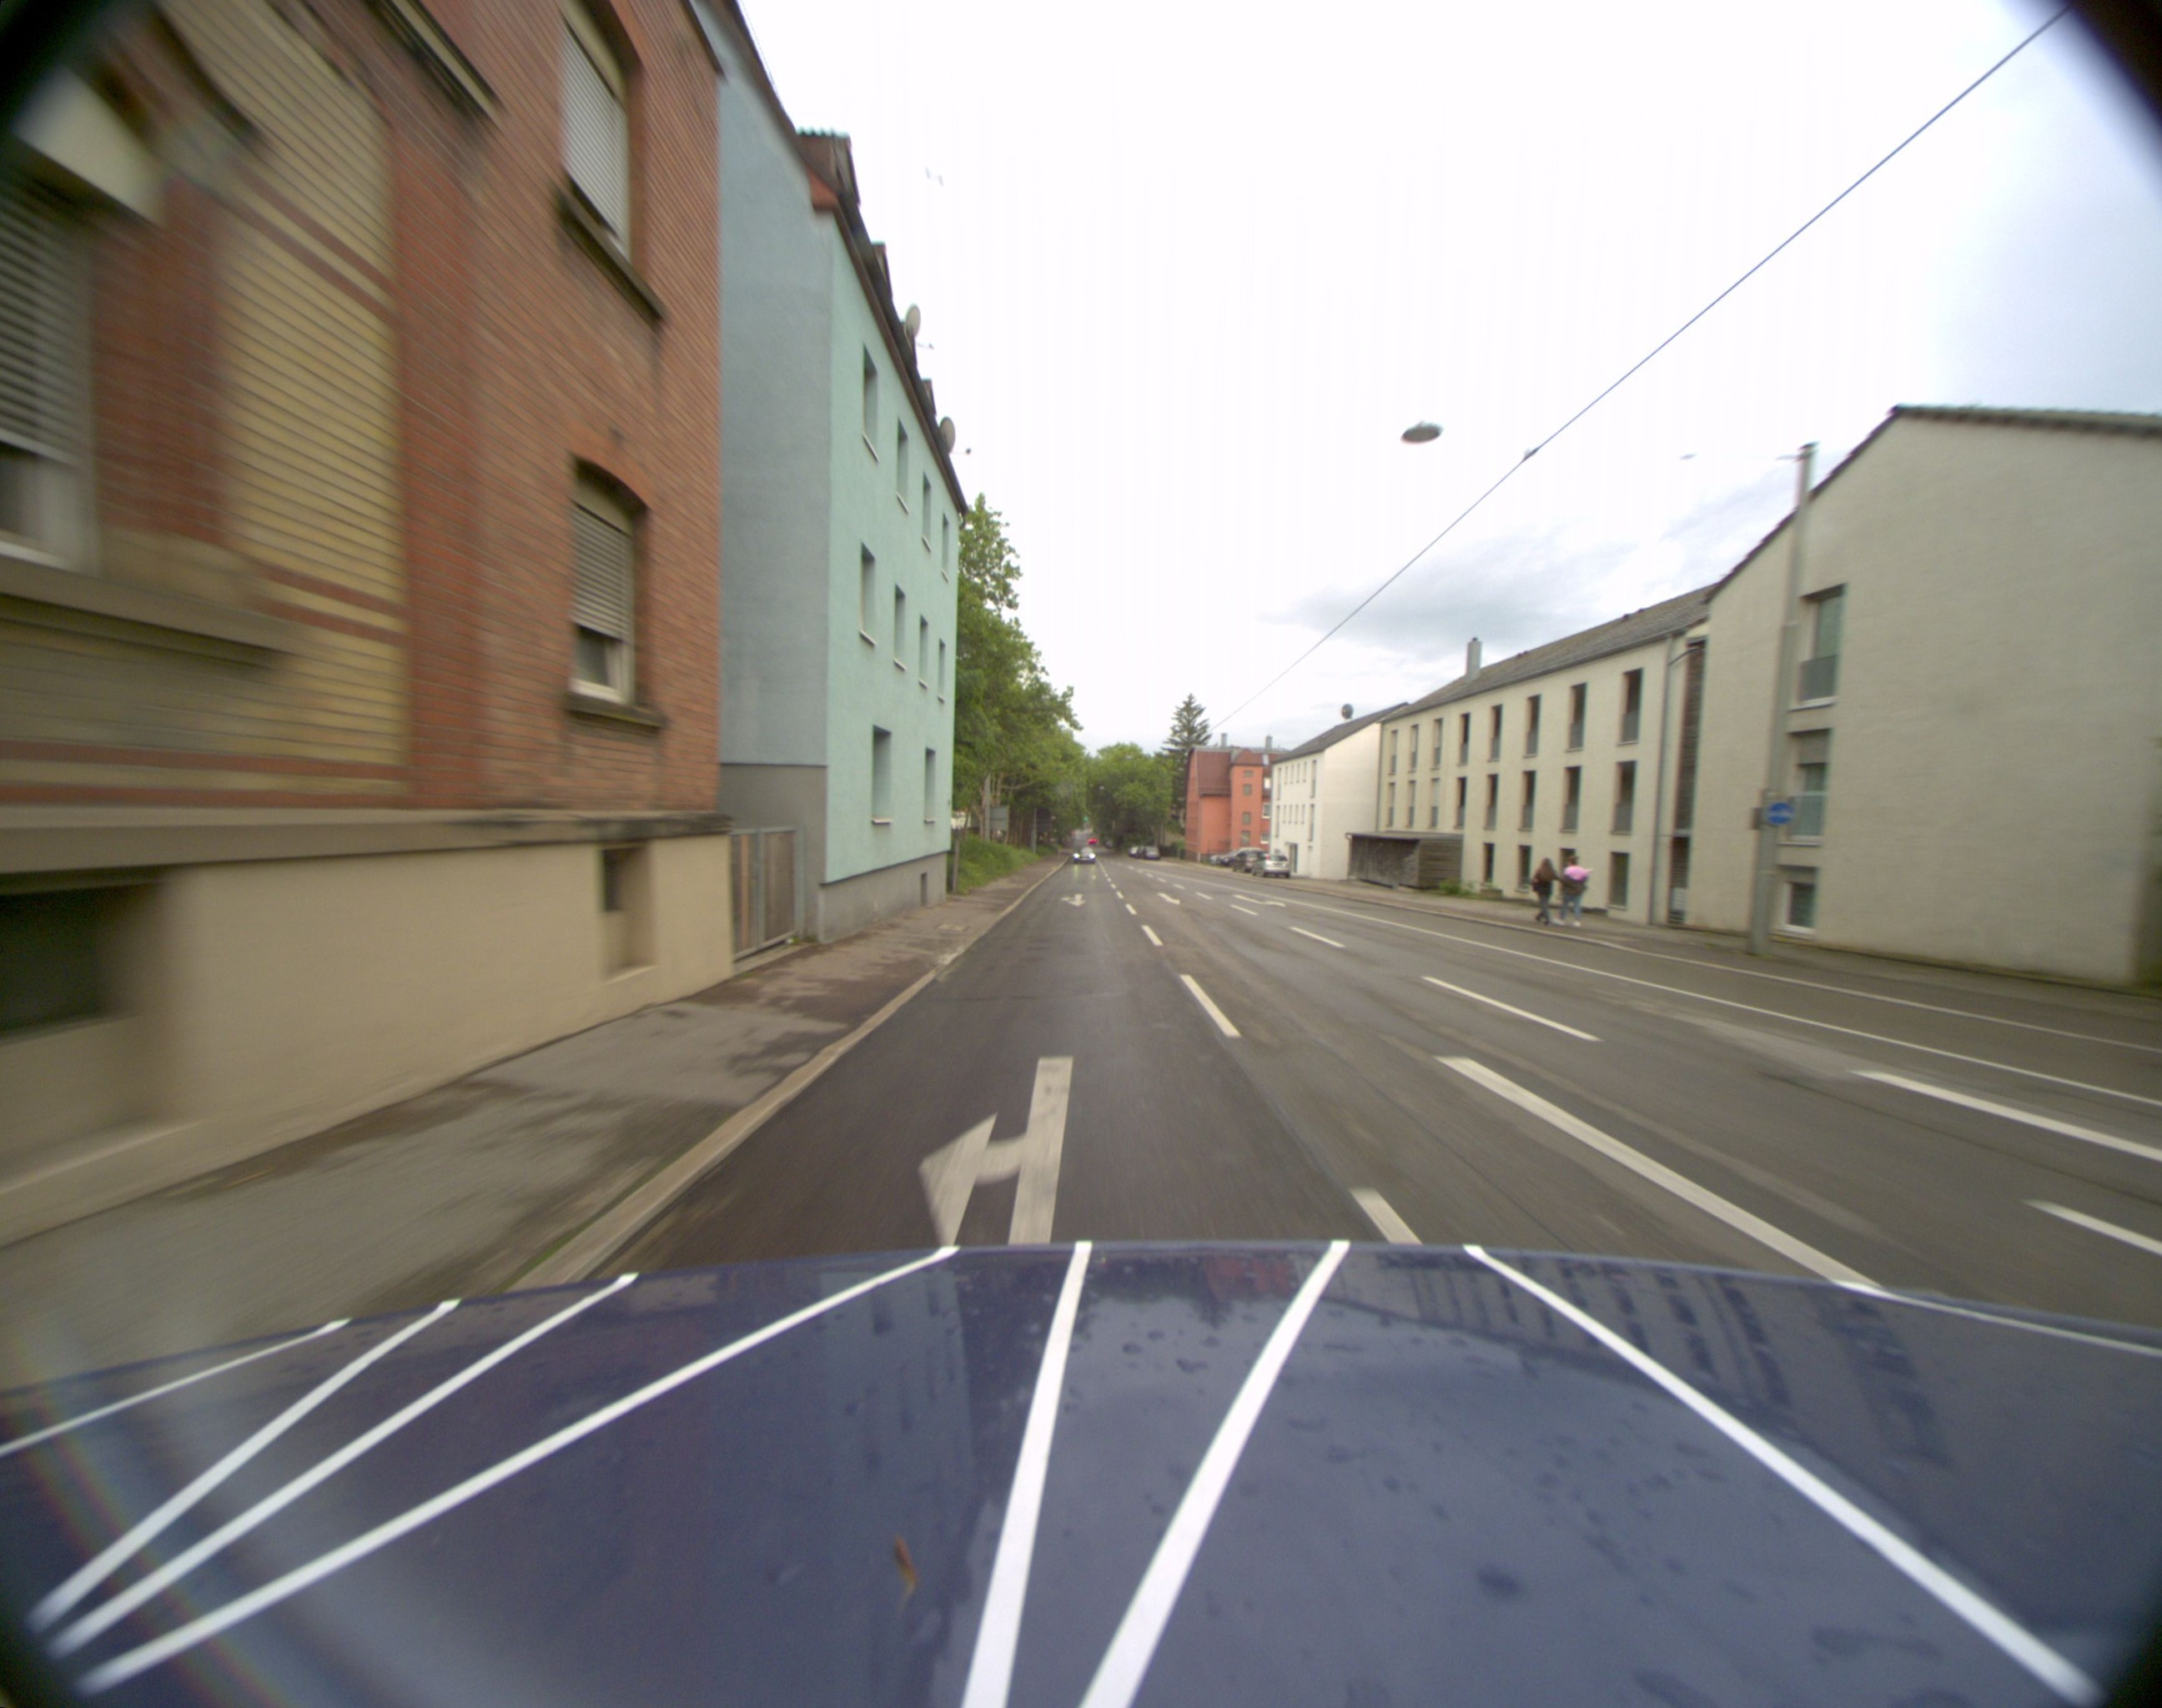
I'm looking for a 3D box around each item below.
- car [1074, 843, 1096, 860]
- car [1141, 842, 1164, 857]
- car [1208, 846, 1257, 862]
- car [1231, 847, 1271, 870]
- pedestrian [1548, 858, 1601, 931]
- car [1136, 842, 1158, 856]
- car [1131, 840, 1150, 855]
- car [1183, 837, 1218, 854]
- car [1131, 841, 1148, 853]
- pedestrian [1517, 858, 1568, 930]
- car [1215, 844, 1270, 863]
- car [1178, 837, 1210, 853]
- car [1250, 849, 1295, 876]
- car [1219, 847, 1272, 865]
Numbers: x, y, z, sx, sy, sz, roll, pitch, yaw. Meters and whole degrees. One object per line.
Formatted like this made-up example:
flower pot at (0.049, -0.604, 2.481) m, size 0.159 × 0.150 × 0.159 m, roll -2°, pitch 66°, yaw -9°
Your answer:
car at (0.329, -0.258, 67.106) m, size 1.842 × 1.403 × 3.999 m, roll 2°, pitch 2°, yaw 0°
car at (7.482, -0.449, 79.884) m, size 1.789 × 1.402 × 4.196 m, roll 3°, pitch 1°, yaw -3°
car at (13.996, -0.015, 70.329) m, size 4.172 × 1.425 × 2.000 m, roll 0°, pitch 2°, yaw 2°
car at (12.234, 0.308, 54.948) m, size 1.750 × 1.543 × 4.081 m, roll -1°, pitch 2°, yaw -4°
pedestrian at (11.913, 0.963, 18.364) m, size 0.642 × 1.696 × 0.911 m, roll 1°, pitch 2°, yaw 1°
car at (7.330, -0.581, 84.697) m, size 1.817 × 1.443 × 4.196 m, roll 1°, pitch 2°, yaw -2°
car at (7.061, -0.795, 90.906) m, size 1.816 × 1.537 × 4.197 m, roll 5°, pitch 2°, yaw 0°
car at (14.654, -1.070, 93.334) m, size 3.997 × 2.002 × 1.999 m, roll 0°, pitch 2°, yaw -1°
car at (7.425, -0.929, 96.737) m, size 1.816 × 1.425 × 4.197 m, roll 2°, pitch 2°, yaw 0°
pedestrian at (11.228, 0.956, 18.513) m, size 0.642 × 1.696 × 0.911 m, roll 1°, pitch 2°, yaw 1°
car at (14.367, -0.066, 67.823) m, size 4.542 × 1.599 × 2.152 m, roll 0°, pitch 2°, yaw 2°
car at (14.400, -1.191, 97.147) m, size 3.994 × 2.002 × 2.001 m, roll 1°, pitch 2°, yaw 7°
car at (12.009, 0.502, 47.922) m, size 1.749 × 1.499 × 4.176 m, roll 2°, pitch 2°, yaw 0°
car at (14.038, 0.171, 65.006) m, size 4.136 × 1.456 × 1.895 m, roll 0°, pitch 2°, yaw 2°
